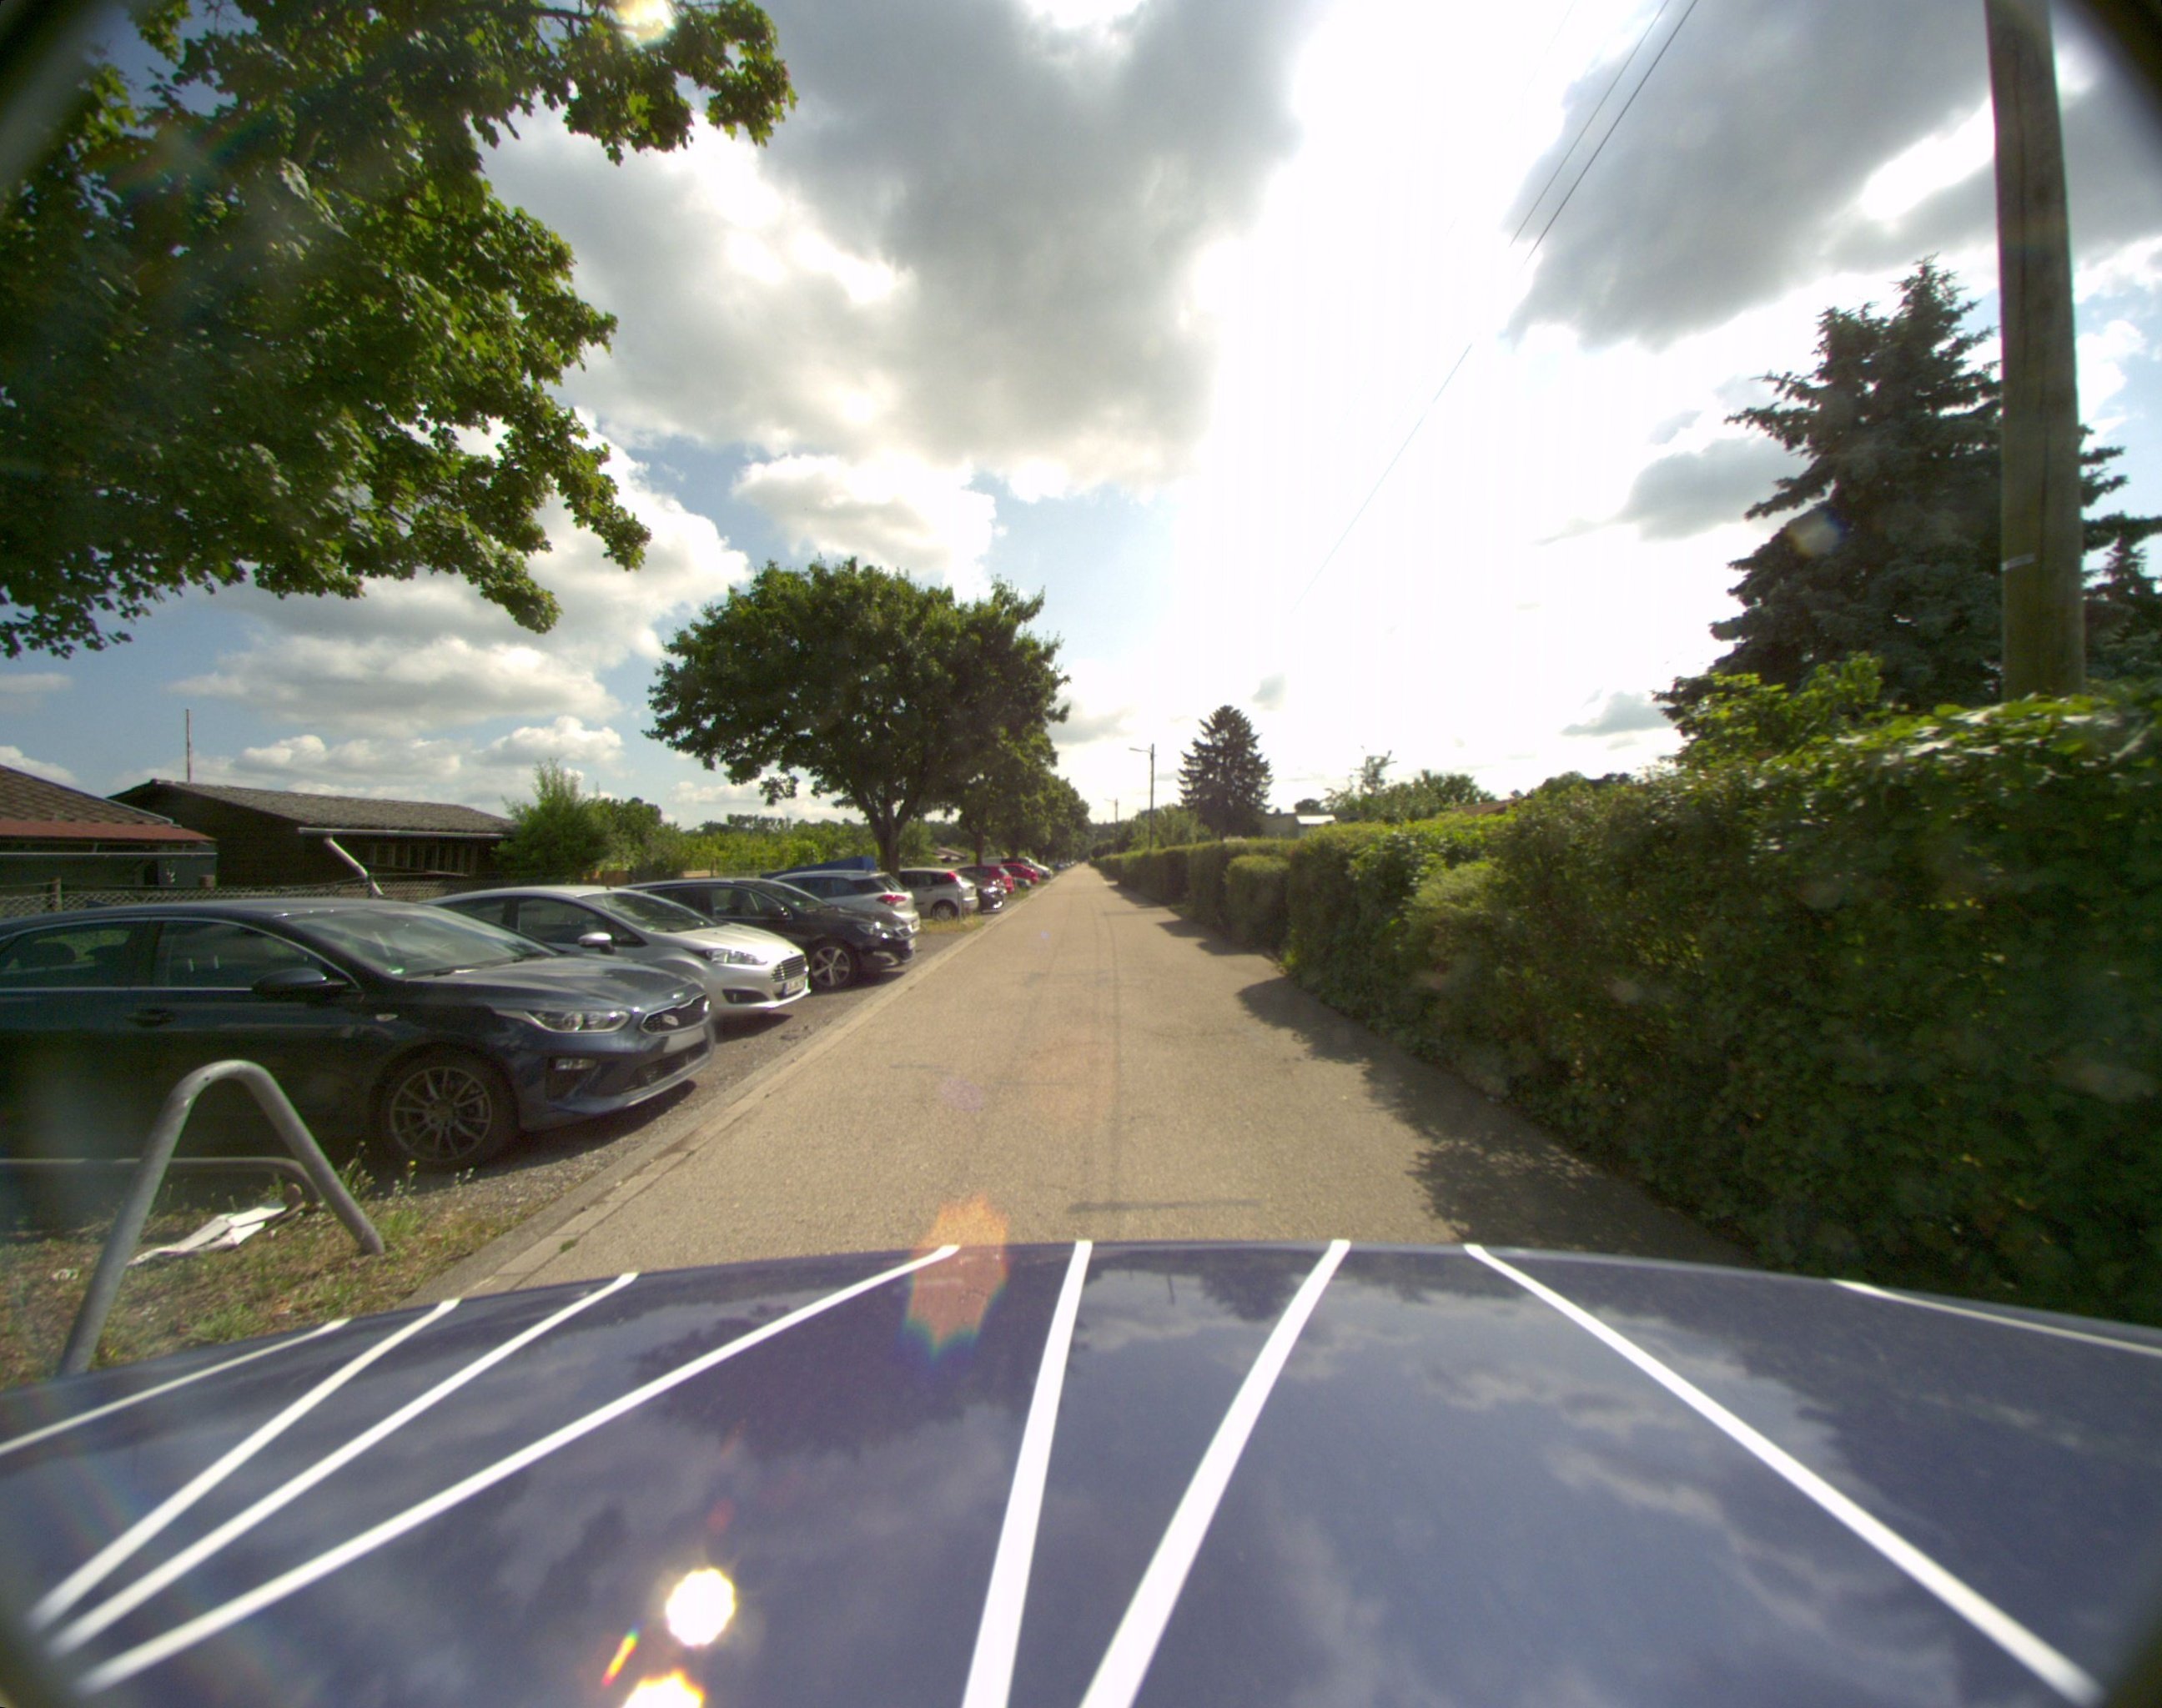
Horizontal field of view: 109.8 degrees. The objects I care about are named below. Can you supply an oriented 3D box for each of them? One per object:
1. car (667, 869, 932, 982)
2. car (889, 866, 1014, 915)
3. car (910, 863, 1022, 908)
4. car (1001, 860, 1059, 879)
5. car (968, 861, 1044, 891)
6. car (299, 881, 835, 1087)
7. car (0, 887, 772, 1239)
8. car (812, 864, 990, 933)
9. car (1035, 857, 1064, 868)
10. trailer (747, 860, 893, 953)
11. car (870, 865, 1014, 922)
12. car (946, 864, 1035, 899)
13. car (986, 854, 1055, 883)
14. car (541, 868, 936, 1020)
[{"bbox_3d":[-4.582,1.129,12.855,3.734,1.531,1.849,-3,0,-3],"label":"car"},{"bbox_3d":[-4.466,1.265,26.707,3.919,1.415,1.958,-3,0,3],"label":"car"},{"bbox_3d":[-4.489,1.214,30.134,3.996,1.511,1.855,-3,0,4],"label":"car"},{"bbox_3d":[-4.176,1.259,62.367,4.591,1.457,2.000,-2,0,-3],"label":"car"},{"bbox_3d":[-4.414,1.287,45.006,4.193,1.495,1.878,-3,0,1],"label":"car"},{"bbox_3d":[-4.655,1.134,7.387,3.822,1.483,1.902,-3,0,0],"label":"car"},{"bbox_3d":[-4.529,1.101,4.705,4.346,1.483,1.975,-3,0,0],"label":"car"},{"bbox_3d":[-4.628,1.133,19.967,4.074,1.503,1.958,-3,0,3],"label":"car"},{"bbox_3d":[-4.592,1.258,110.988,4.116,1.573,1.781,-2,0,-1],"label":"car"},{"bbox_3d":[-5.325,1.048,15.740,2.457,1.710,1.518,-3,-1,-3],"label":"trailer"},{"bbox_3d":[-4.187,1.168,23.433,4.076,1.447,1.869,-3,0,-2],"label":"car"},{"bbox_3d":[-4.429,1.343,37.785,4.250,1.420,1.907,-3,0,-3],"label":"car"},{"bbox_3d":[-4.166,0.997,52.653,4.646,1.875,2.111,-1,0,-1],"label":"car"},{"bbox_3d":[-4.338,1.106,10.208,4.313,1.584,2.000,-3,0,0],"label":"car"}]
